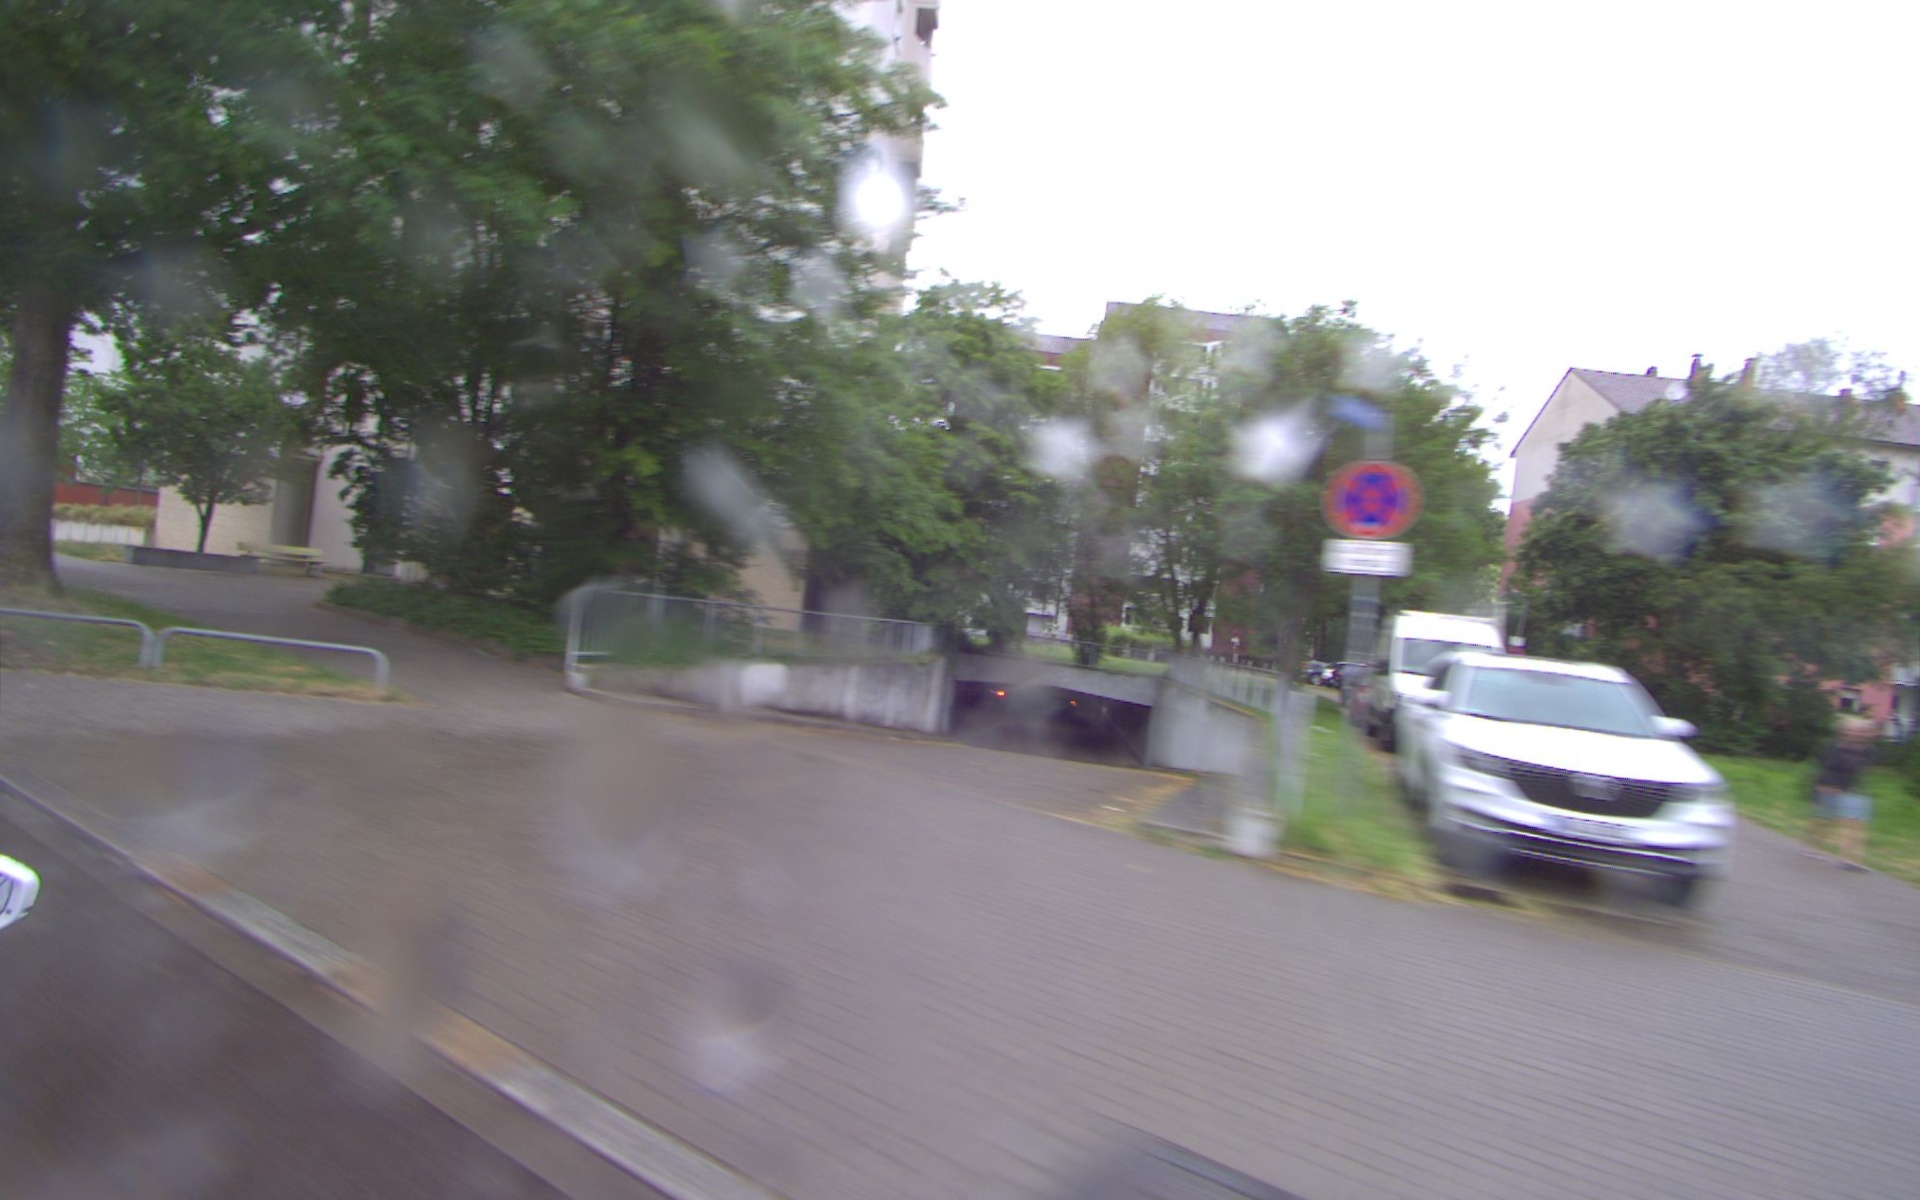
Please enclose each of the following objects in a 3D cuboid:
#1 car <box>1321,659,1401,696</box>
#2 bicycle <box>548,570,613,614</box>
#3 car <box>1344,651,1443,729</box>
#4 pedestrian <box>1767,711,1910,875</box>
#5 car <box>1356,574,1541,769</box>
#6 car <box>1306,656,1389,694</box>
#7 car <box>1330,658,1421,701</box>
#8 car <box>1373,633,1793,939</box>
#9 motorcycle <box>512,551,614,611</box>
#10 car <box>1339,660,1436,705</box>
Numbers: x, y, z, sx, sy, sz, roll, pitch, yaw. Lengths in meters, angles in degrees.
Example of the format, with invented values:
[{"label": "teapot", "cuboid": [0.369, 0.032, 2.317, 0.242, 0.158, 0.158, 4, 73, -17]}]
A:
[{"label": "car", "cuboid": [23.316, 4.523, 58.639, 3.924, 1.586, 1.982, 8, -2, 13]}, {"label": "bicycle", "cuboid": [-9.810, -0.202, 26.024, 1.439, 0.937, 0.408, 7, 1, -4]}, {"label": "car", "cuboid": [10.740, 2.192, 25.206, 1.872, 1.544, 4.418, 7, -1, 21]}, {"label": "pedestrian", "cuboid": [9.714, 2.099, 11.162, 0.799, 1.589, 0.840, 7, 0, 21]}, {"label": "car", "cuboid": [9.274, 1.338, 19.701, 2.090, 2.999, 6.078, 7, -1, 18]}, {"label": "car", "cuboid": [23.397, 4.531, 60.916, 4.170, 1.698, 1.886, 8, -1, 6]}, {"label": "car", "cuboid": [23.033, 4.386, 55.879, 4.170, 1.698, 1.886, 8, -1, 6]}, {"label": "car", "cuboid": [5.125, 1.357, 9.154, 1.962, 1.766, 4.821, 7, -1, 18]}, {"label": "motorcycle", "cuboid": [-10.689, -0.496, 27.151, 2.261, 1.305, 0.884, 7, 1, -4]}, {"label": "car", "cuboid": [22.487, 4.336, 53.065, 4.170, 1.697, 1.887, 8, -2, 6]}]
